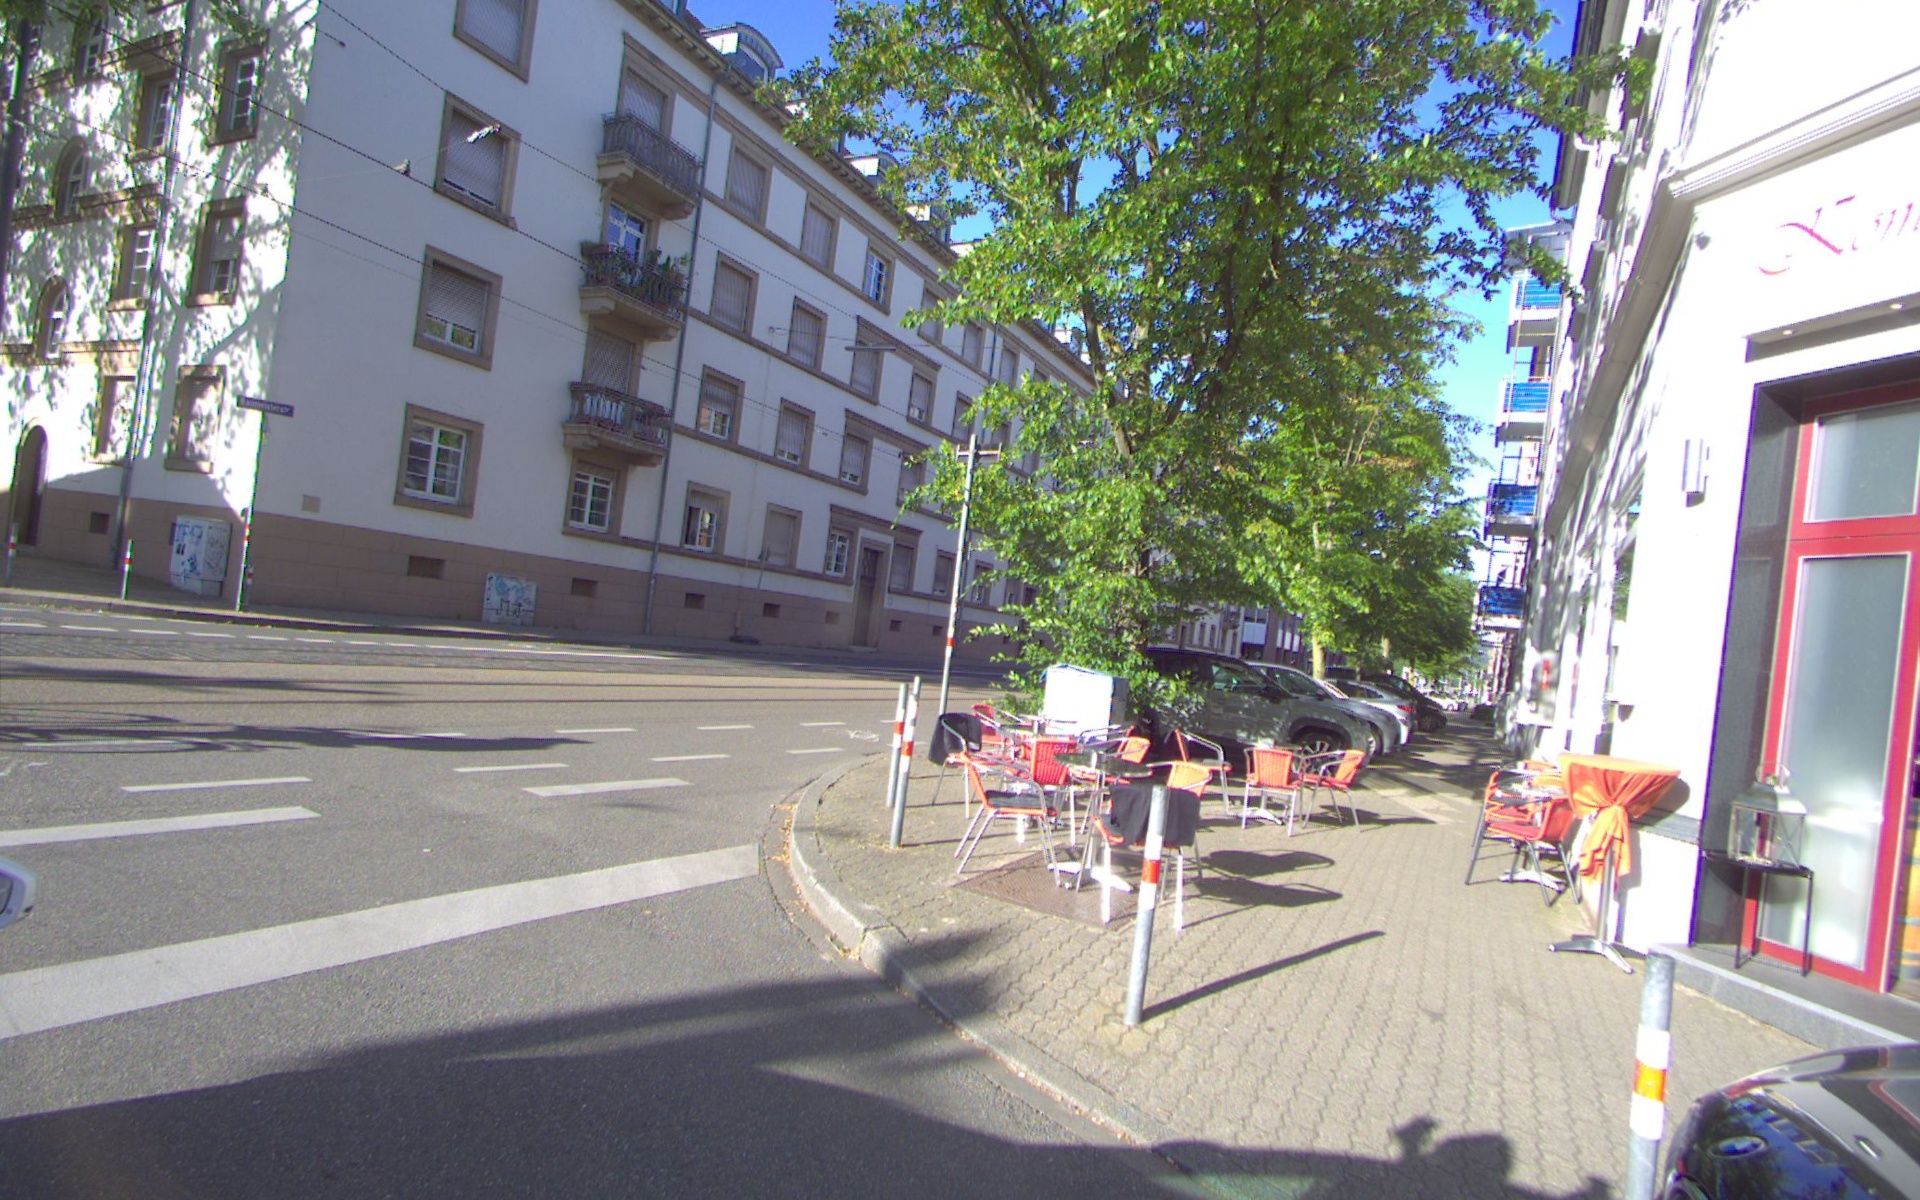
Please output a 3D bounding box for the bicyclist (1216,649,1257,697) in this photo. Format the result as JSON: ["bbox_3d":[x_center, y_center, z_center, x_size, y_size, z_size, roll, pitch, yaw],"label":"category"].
[{"bbox_3d":[9.192,2.433,33.434,0.886,1.471,1.262,7,0,28],"label":"bicyclist"}]

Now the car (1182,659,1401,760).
[{"bbox_3d":[6.782,2.211,20.920,4.057,1.506,1.621,6,0,15],"label":"car"}]

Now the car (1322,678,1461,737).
[{"bbox_3d":[14.947,3.707,34.941,4.061,1.506,1.619,6,0,-5],"label":"car"}]

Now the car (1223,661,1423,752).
[{"bbox_3d":[8.252,2.404,23.216,4.057,1.506,1.621,6,0,14],"label":"car"}]

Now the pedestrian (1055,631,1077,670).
[{"bbox_3d":[5.394,2.567,51.163,0.725,1.859,0.696,8,0,27],"label":"pedestrian"}]

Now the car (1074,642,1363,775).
[{"bbox_3d":[4.041,1.699,16.096,4.061,1.575,1.619,6,0,-5],"label":"car"}]

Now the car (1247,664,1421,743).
[{"bbox_3d":[9.808,2.669,26.500,4.060,1.506,1.619,6,0,23],"label":"car"}]

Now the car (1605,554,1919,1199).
[{"bbox_3d":[2.877,1.096,0.579,4.129,1.681,1.764,7,-2,34],"label":"car"}]

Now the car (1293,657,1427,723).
[{"bbox_3d":[14.771,3.304,37.254,4.061,1.910,1.888,6,0,-5],"label":"car"}]

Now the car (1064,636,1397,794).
[{"bbox_3d":[3.555,1.506,13.824,4.057,1.575,1.621,6,0,4],"label":"car"}]

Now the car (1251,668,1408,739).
[{"bbox_3d":[10.749,2.980,29.417,4.059,1.506,1.620,6,0,21],"label":"car"}]

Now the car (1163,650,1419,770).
[{"bbox_3d":[5.858,1.930,18.212,4.056,1.575,1.621,6,0,9],"label":"car"}]

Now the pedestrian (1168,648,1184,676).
[{"bbox_3d":[15.490,4.440,72.069,0.725,1.859,0.696,8,0,27],"label":"pedestrian"}]
